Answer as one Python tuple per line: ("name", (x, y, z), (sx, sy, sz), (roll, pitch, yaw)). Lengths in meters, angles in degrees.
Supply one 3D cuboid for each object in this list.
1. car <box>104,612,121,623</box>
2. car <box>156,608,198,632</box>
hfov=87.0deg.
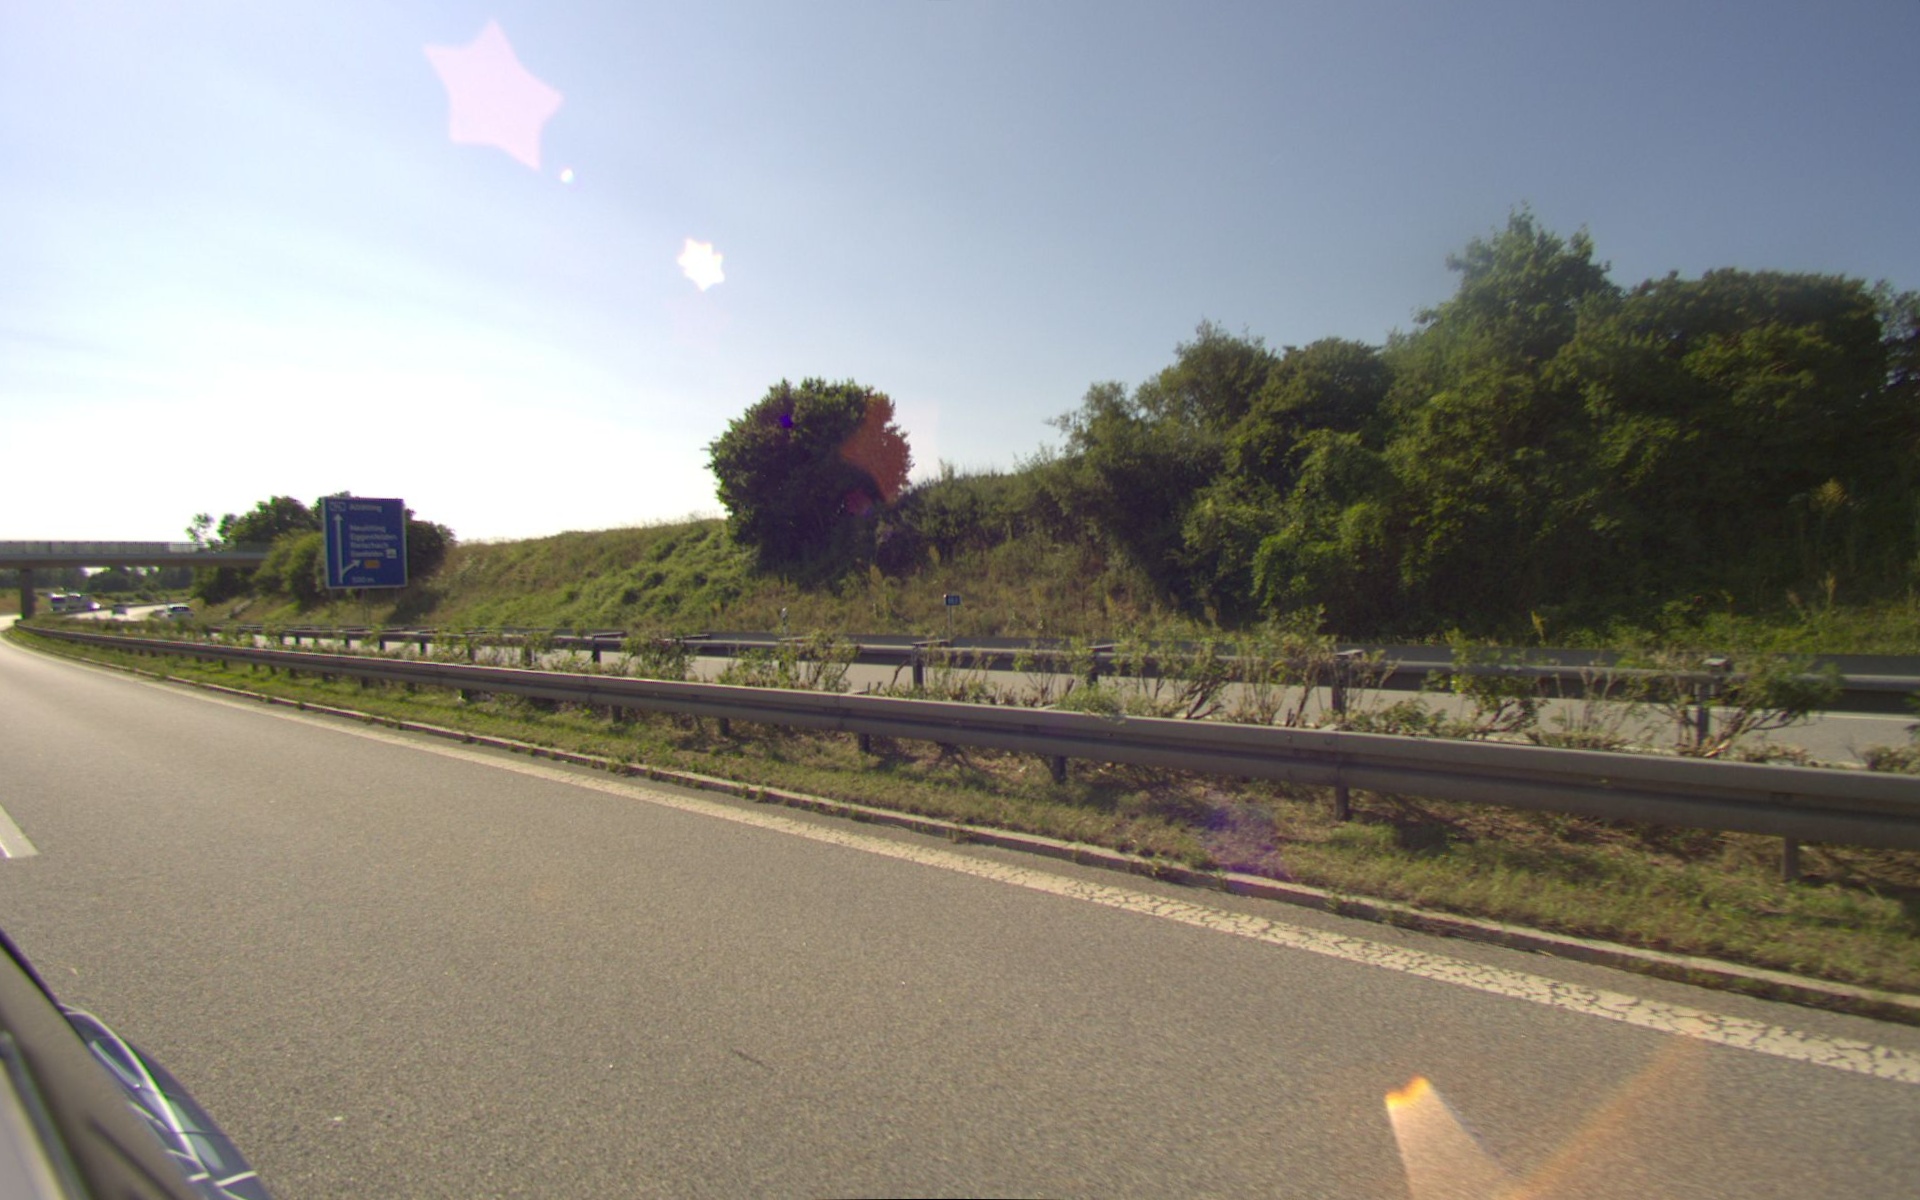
("car", (-139.162, 2.880, 166.250), (1.835, 1.871, 4.627), (-1, 0, -44))
("car", (-54.557, 1.382, 70.501), (4.002, 1.610, 1.835), (-1, 0, 45))
